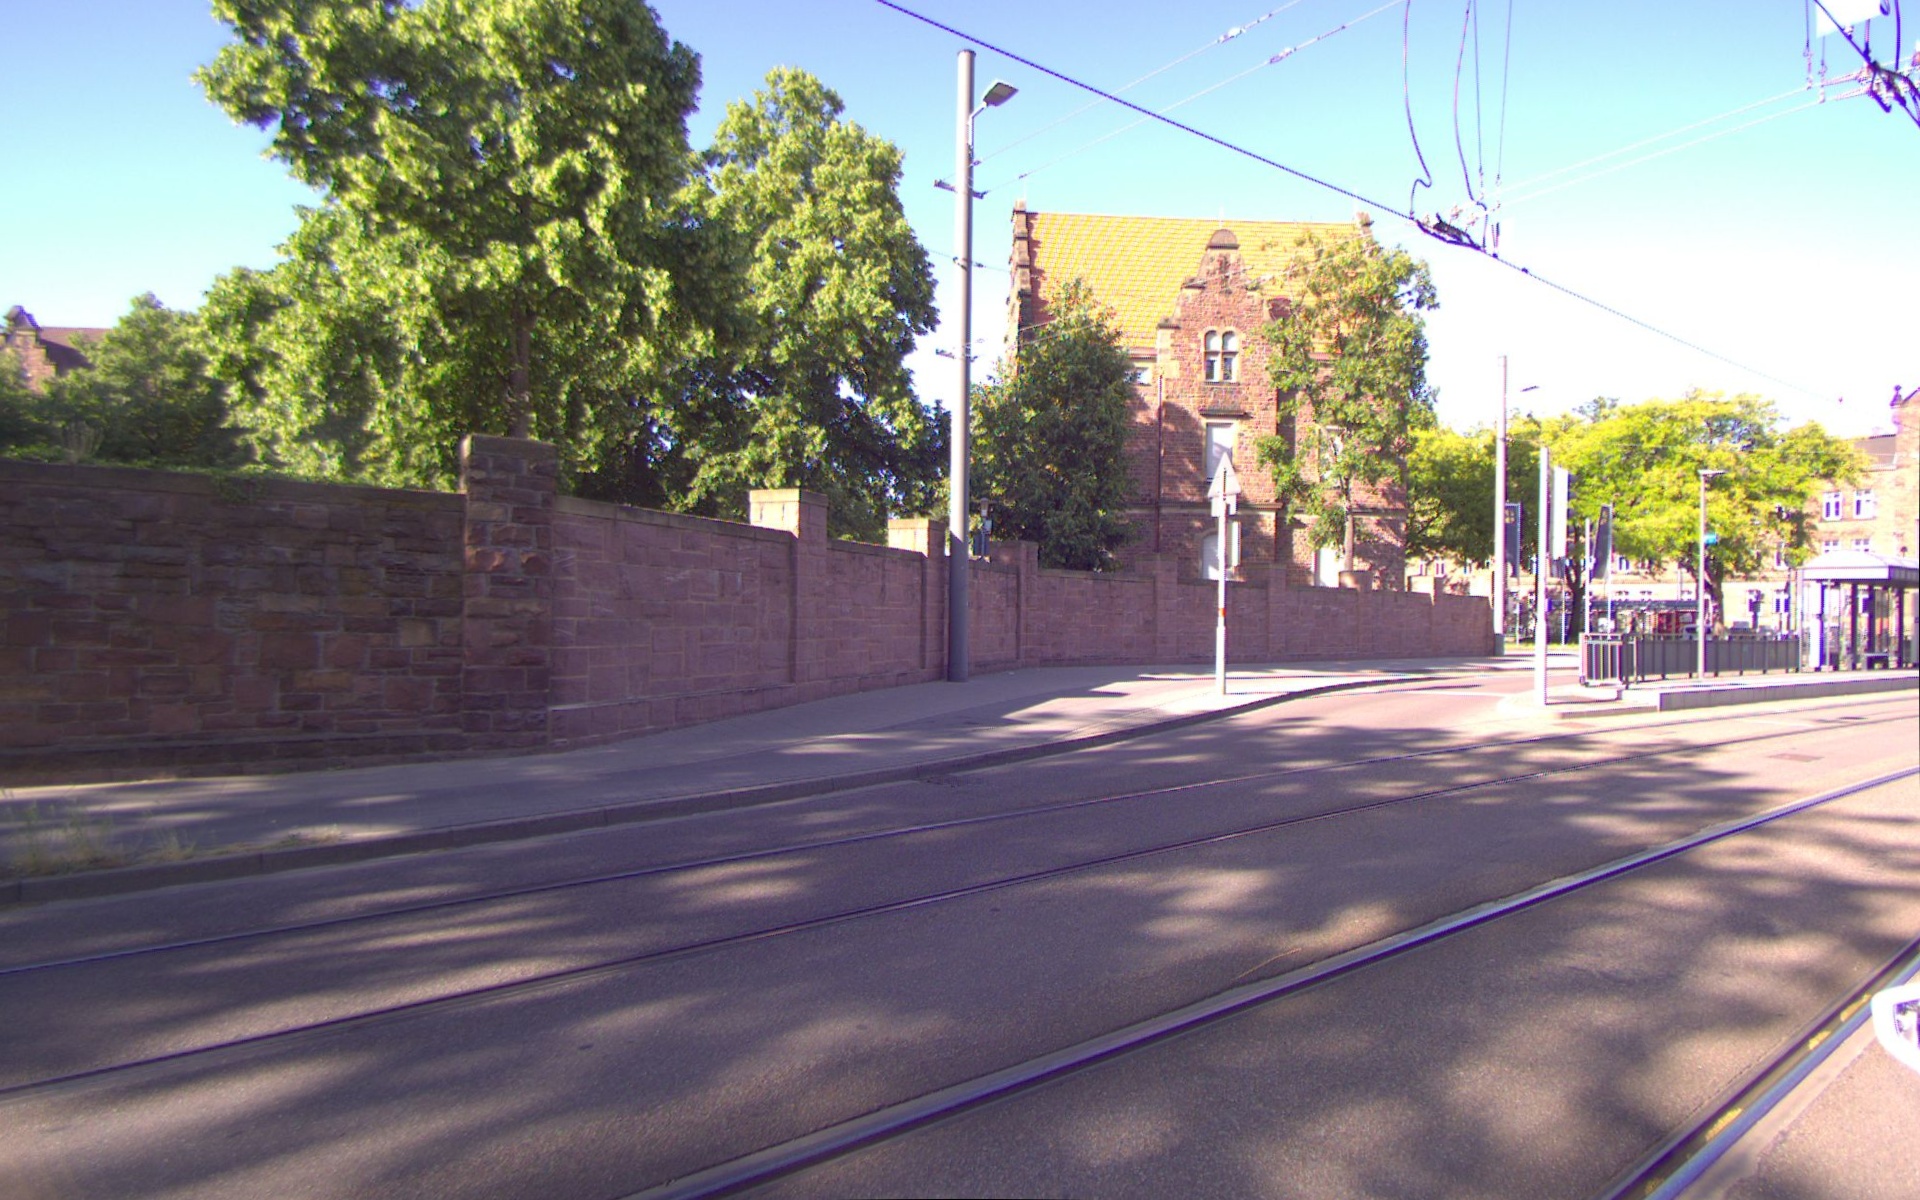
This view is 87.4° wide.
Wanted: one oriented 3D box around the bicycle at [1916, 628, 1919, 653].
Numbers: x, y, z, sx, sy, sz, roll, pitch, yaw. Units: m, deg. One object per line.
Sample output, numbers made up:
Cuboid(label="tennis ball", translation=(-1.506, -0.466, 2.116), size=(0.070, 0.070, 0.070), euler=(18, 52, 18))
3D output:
Cuboid(label="bicycle", translation=(48.733, 2.038, 50.376), size=(1.933, 1.214, 0.810), euler=(1, -1, -36))

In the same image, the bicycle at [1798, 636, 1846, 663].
Cuboid(label="bicycle", translation=(36.201, 2.072, 42.196), size=(2.034, 1.103, 0.683), euler=(1, 0, -23))

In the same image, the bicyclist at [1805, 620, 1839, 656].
Cuboid(label="bicyclist", translation=(36.214, 1.583, 42.196), size=(1.135, 1.478, 0.651), euler=(1, 0, -23))
